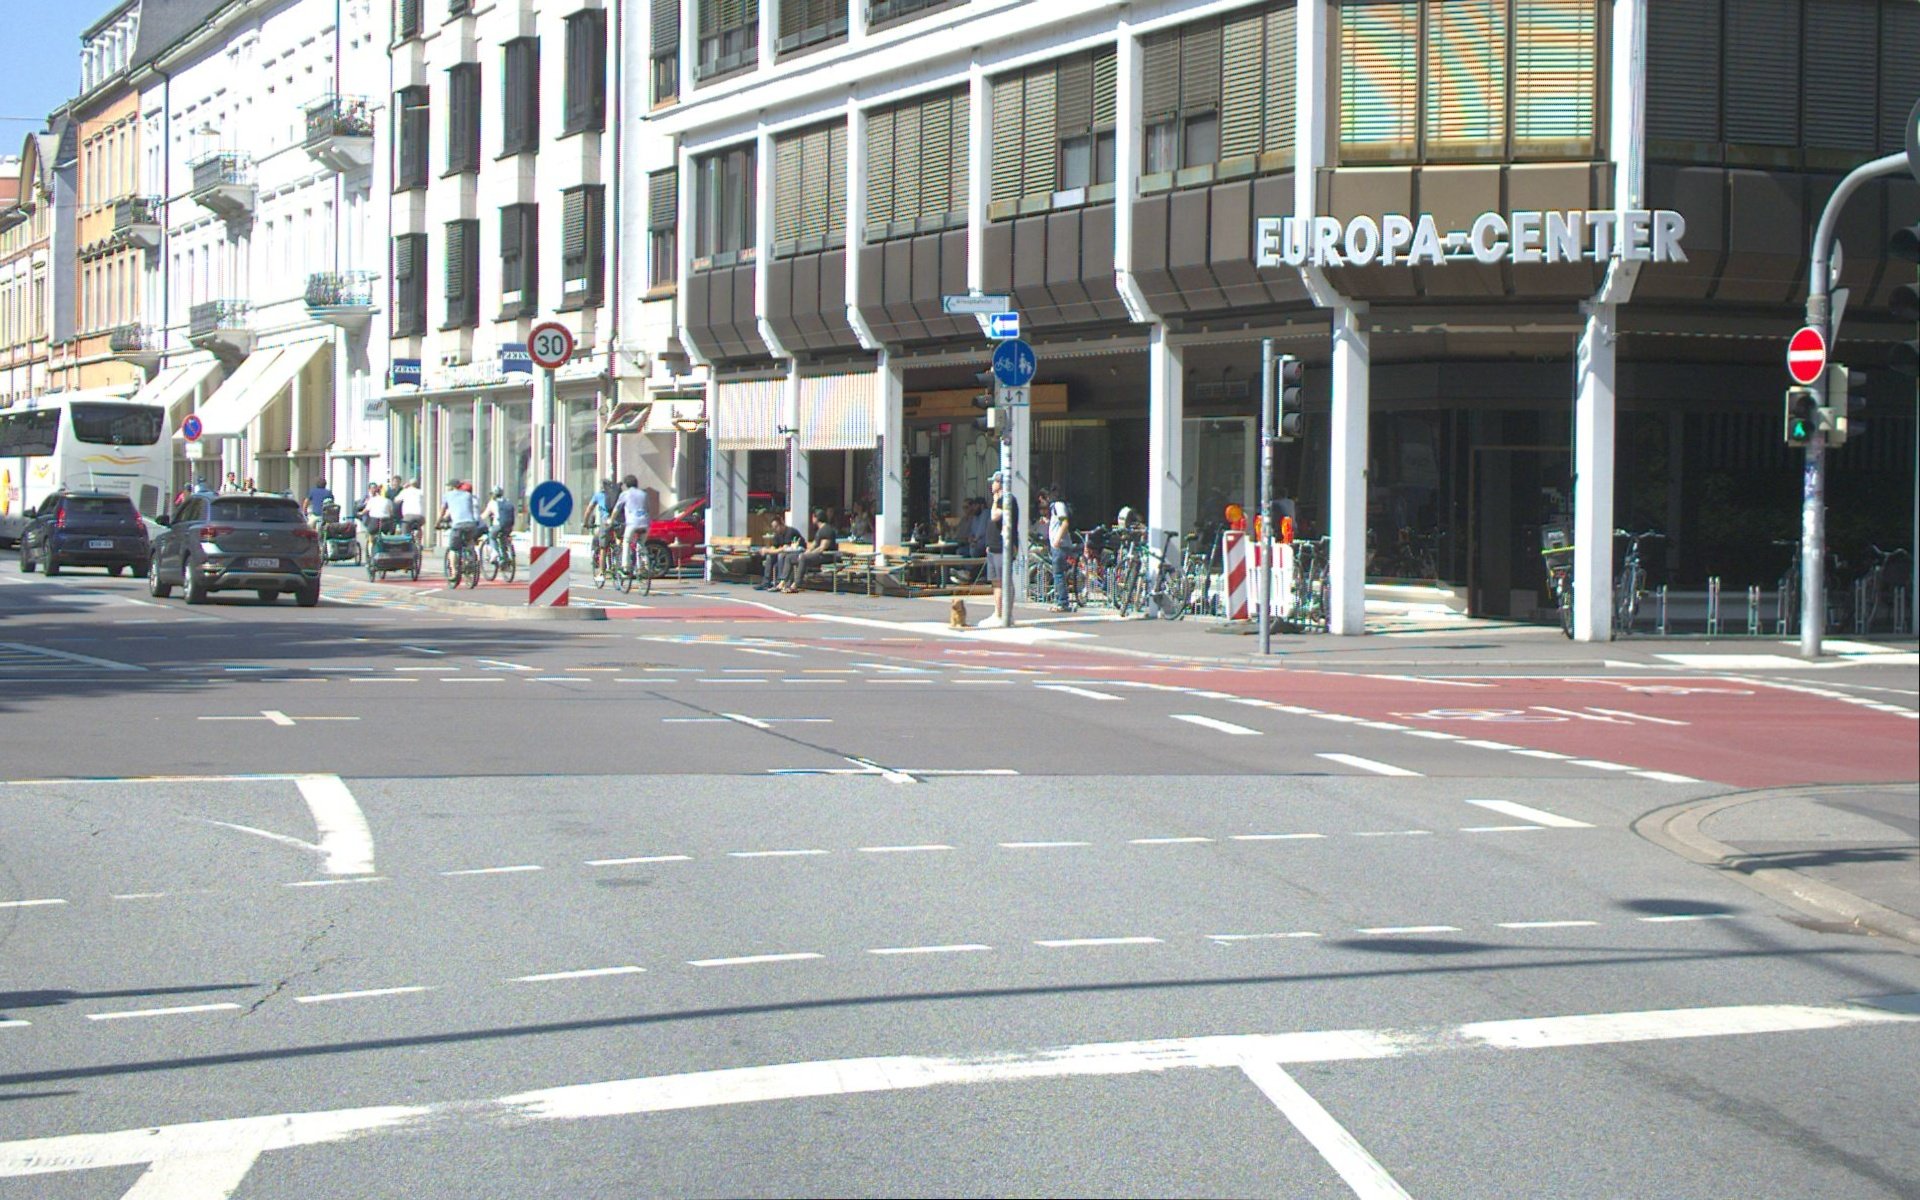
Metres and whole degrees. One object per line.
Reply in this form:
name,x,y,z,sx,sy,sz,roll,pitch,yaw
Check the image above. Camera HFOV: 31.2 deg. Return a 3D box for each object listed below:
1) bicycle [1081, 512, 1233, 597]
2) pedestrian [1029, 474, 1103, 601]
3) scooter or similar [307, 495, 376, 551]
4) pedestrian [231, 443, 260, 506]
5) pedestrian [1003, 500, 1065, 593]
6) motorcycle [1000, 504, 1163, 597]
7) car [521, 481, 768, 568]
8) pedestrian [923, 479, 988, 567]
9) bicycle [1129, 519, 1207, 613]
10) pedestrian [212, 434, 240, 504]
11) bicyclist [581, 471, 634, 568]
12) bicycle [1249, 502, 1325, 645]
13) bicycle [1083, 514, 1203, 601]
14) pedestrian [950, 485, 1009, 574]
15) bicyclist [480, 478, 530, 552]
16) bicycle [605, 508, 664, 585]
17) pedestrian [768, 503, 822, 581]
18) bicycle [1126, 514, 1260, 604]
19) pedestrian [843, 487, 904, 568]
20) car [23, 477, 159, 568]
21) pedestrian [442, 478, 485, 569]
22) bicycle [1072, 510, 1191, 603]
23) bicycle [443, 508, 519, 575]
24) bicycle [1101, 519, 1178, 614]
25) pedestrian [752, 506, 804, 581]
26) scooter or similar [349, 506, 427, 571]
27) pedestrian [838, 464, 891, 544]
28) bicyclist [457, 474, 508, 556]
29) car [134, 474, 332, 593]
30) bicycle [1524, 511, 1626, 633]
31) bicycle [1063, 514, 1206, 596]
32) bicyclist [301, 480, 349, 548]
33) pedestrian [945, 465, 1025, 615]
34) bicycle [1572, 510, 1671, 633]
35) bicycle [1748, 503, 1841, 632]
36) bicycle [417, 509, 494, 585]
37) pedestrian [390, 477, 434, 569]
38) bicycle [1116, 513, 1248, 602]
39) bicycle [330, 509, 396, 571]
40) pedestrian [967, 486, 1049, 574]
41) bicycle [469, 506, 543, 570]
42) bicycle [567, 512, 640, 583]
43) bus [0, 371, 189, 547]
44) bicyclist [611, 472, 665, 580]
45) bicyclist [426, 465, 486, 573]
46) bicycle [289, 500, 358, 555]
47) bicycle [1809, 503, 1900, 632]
bicycle,2.658,-0.607,46.270,2.236,1.116,0.277,0,2,-30
pedestrian,1.402,-0.827,45.583,0.832,1.657,0.697,0,1,-14
scooter or similar,-12.422,-1.550,69.062,1.121,1.098,1.086,0,2,-24
pedestrian,-18.556,-3.263,89.286,0.645,1.612,0.822,0,0,-20
pedestrian,1.128,-0.814,52.238,0.711,1.392,0.697,0,1,-23
motorcycle,1.727,-0.700,48.559,2.236,1.286,0.948,0,1,6
car,-5.637,-1.343,61.354,4.043,1.489,1.842,0,0,-21
pedestrian,-0.077,-1.234,54.927,0.813,1.392,0.697,0,1,-24
bicycle,2.602,-0.444,43.296,0.276,1.116,2.244,0,2,-15
pedestrian,-18.819,-3.354,88.187,0.573,1.772,1.020,0,1,-20
bicyclist,-5.626,-1.289,54.796,0.620,1.524,0.869,1,1,-20
bicycle,3.897,-0.321,40.881,0.376,1.058,1.474,0,34,23
bicycle,2.399,-0.560,45.046,1.570,1.116,0.278,-1,2,-16
pedestrian,0.309,-1.112,54.177,0.711,1.392,0.697,0,1,-23
bicyclist,-8.013,-1.496,60.509,0.620,1.292,0.867,1,1,-24
bicycle,-4.927,-0.820,51.988,0.594,1.116,1.802,0,2,-15
pedestrian,-2.574,-0.902,53.520,0.711,1.212,0.697,0,1,-14
bicycle,3.003,-0.531,44.296,1.716,1.116,0.278,-1,2,-16
pedestrian,-1.473,-1.242,58.545,0.877,1.363,0.537,0,2,-24
car,-15.453,-1.371,61.007,1.832,1.522,4.001,-2,1,-21
pedestrian,-9.455,-1.457,65.447,0.620,1.714,0.836,1,1,-20
bicycle,2.263,-0.570,45.388,1.545,1.202,0.278,0,2,-16
bicycle,-8.097,-1.000,58.047,0.620,1.095,2.353,0,1,-24
bicycle,2.243,-0.435,43.153,0.276,1.116,2.244,0,2,-15
pedestrian,-2.876,-0.891,54.323,0.711,1.169,0.697,0,1,-14
scooter or similar,-10.255,-1.112,61.557,0.961,1.131,1.586,0,2,-25
pedestrian,-1.653,-1.666,59.547,0.744,1.363,0.584,0,2,-24
bicyclist,-8.049,-1.434,57.943,0.620,1.350,0.847,1,1,-24
car,-10.168,-0.926,47.864,1.832,1.522,4.001,2,0,-24
bicycle,7.006,-0.337,39.110,0.530,1.312,1.964,2,3,29
bicycle,2.387,-0.607,46.828,2.236,1.093,0.277,0,2,-36
bicyclist,-13.035,-1.764,70.566,0.787,1.374,0.723,1,1,-24
pedestrian,0.307,-0.739,42.322,0.832,1.829,0.697,0,1,-14
bicycle,7.494,-0.336,38.908,0.530,1.312,1.856,2,3,29
bicycle,9.655,-0.396,39.728,0.530,1.417,1.964,2,3,29
bicycle,-8.153,-0.861,55.454,0.664,1.116,2.244,2,2,-22
pedestrian,-10.280,-1.447,64.509,0.620,1.714,0.836,1,1,-22
bicycle,2.890,-0.557,44.676,1.716,1.116,0.278,-1,2,-16
bicycle,-11.029,-1.119,63.484,0.620,1.095,2.353,1,2,-24
pedestrian,0.740,-1.073,53.115,0.895,1.346,1.105,0,1,-23
bicycle,-7.998,-1.098,60.473,0.620,1.095,2.353,1,2,-24
bicycle,-5.717,-0.848,55.034,0.620,1.095,2.353,1,2,-19
bus,-20.882,-3.314,80.946,2.881,3.729,12.430,2,1,-24
bicyclist,-4.867,-1.127,51.923,0.694,1.620,0.836,0,2,-15
bicyclist,-8.142,-1.314,55.525,0.694,1.667,0.916,2,2,-21
bicycle,-13.104,-1.508,70.718,0.837,1.095,2.353,0,1,-24
bicycle,10.361,-0.397,39.778,0.530,1.417,1.964,2,3,29
